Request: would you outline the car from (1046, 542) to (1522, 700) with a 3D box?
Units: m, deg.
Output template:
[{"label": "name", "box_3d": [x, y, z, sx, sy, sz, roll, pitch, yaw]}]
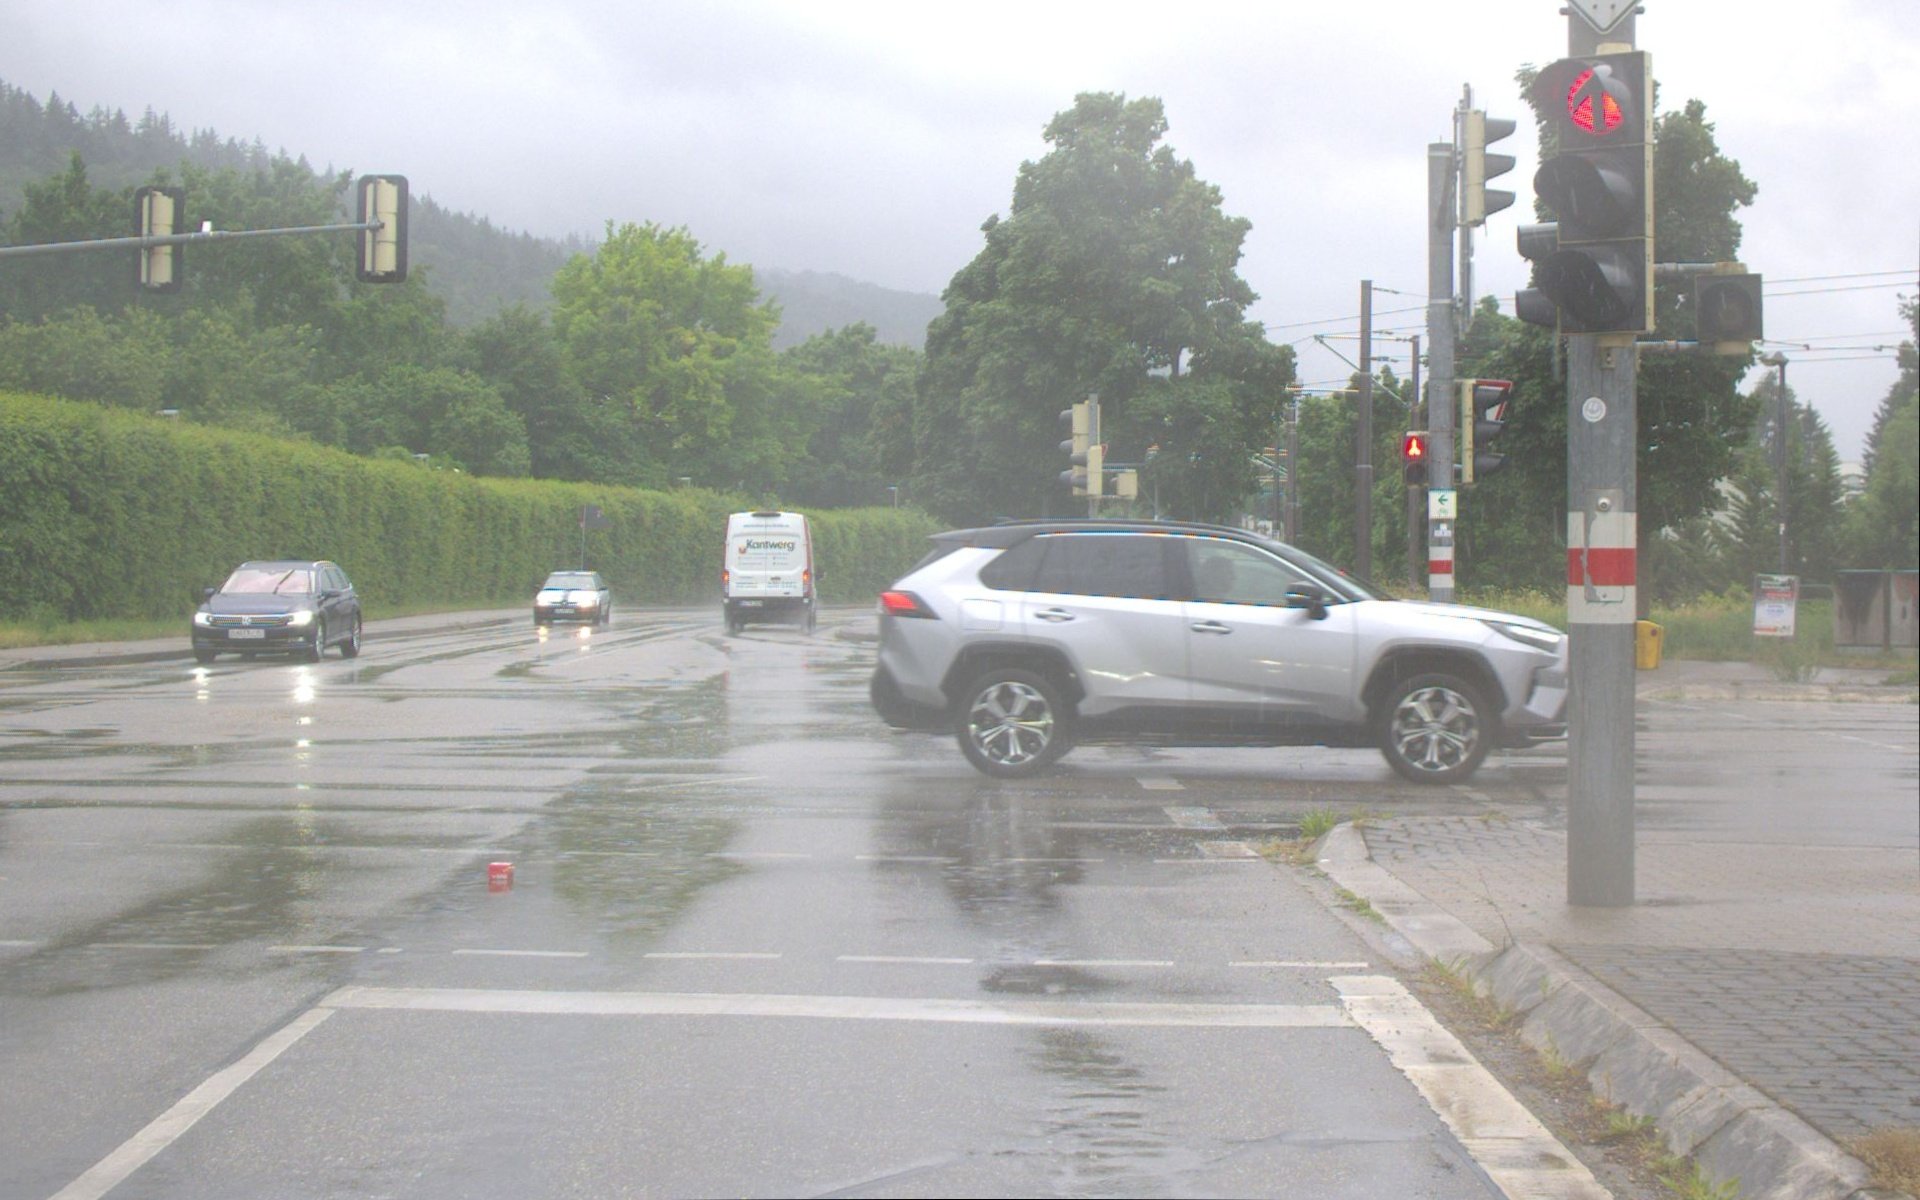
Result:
[{"label": "car", "box_3d": [3.246, 0.194, 34.839, 4.670, 1.548, 1.822, 0, 1, 4]}]

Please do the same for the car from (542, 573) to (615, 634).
[{"label": "car", "box_3d": [-9.856, 0.078, 89.015, 1.558, 1.476, 3.361, 0, 1, -1]}]

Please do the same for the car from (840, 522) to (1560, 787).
[{"label": "car", "box_3d": [1.607, 0.314, 22.716, 4.528, 1.574, 1.912, 1, 1, 7]}]

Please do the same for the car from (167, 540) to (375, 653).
[{"label": "car", "box_3d": [-10.265, -0.089, 51.570, 1.879, 1.568, 4.644, -2, 1, 4]}]

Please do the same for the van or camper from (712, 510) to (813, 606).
[{"label": "van or camper", "box_3d": [-4.602, -1.015, 80.684, 2.153, 2.161, 4.865, 0, 1, -1]}]
